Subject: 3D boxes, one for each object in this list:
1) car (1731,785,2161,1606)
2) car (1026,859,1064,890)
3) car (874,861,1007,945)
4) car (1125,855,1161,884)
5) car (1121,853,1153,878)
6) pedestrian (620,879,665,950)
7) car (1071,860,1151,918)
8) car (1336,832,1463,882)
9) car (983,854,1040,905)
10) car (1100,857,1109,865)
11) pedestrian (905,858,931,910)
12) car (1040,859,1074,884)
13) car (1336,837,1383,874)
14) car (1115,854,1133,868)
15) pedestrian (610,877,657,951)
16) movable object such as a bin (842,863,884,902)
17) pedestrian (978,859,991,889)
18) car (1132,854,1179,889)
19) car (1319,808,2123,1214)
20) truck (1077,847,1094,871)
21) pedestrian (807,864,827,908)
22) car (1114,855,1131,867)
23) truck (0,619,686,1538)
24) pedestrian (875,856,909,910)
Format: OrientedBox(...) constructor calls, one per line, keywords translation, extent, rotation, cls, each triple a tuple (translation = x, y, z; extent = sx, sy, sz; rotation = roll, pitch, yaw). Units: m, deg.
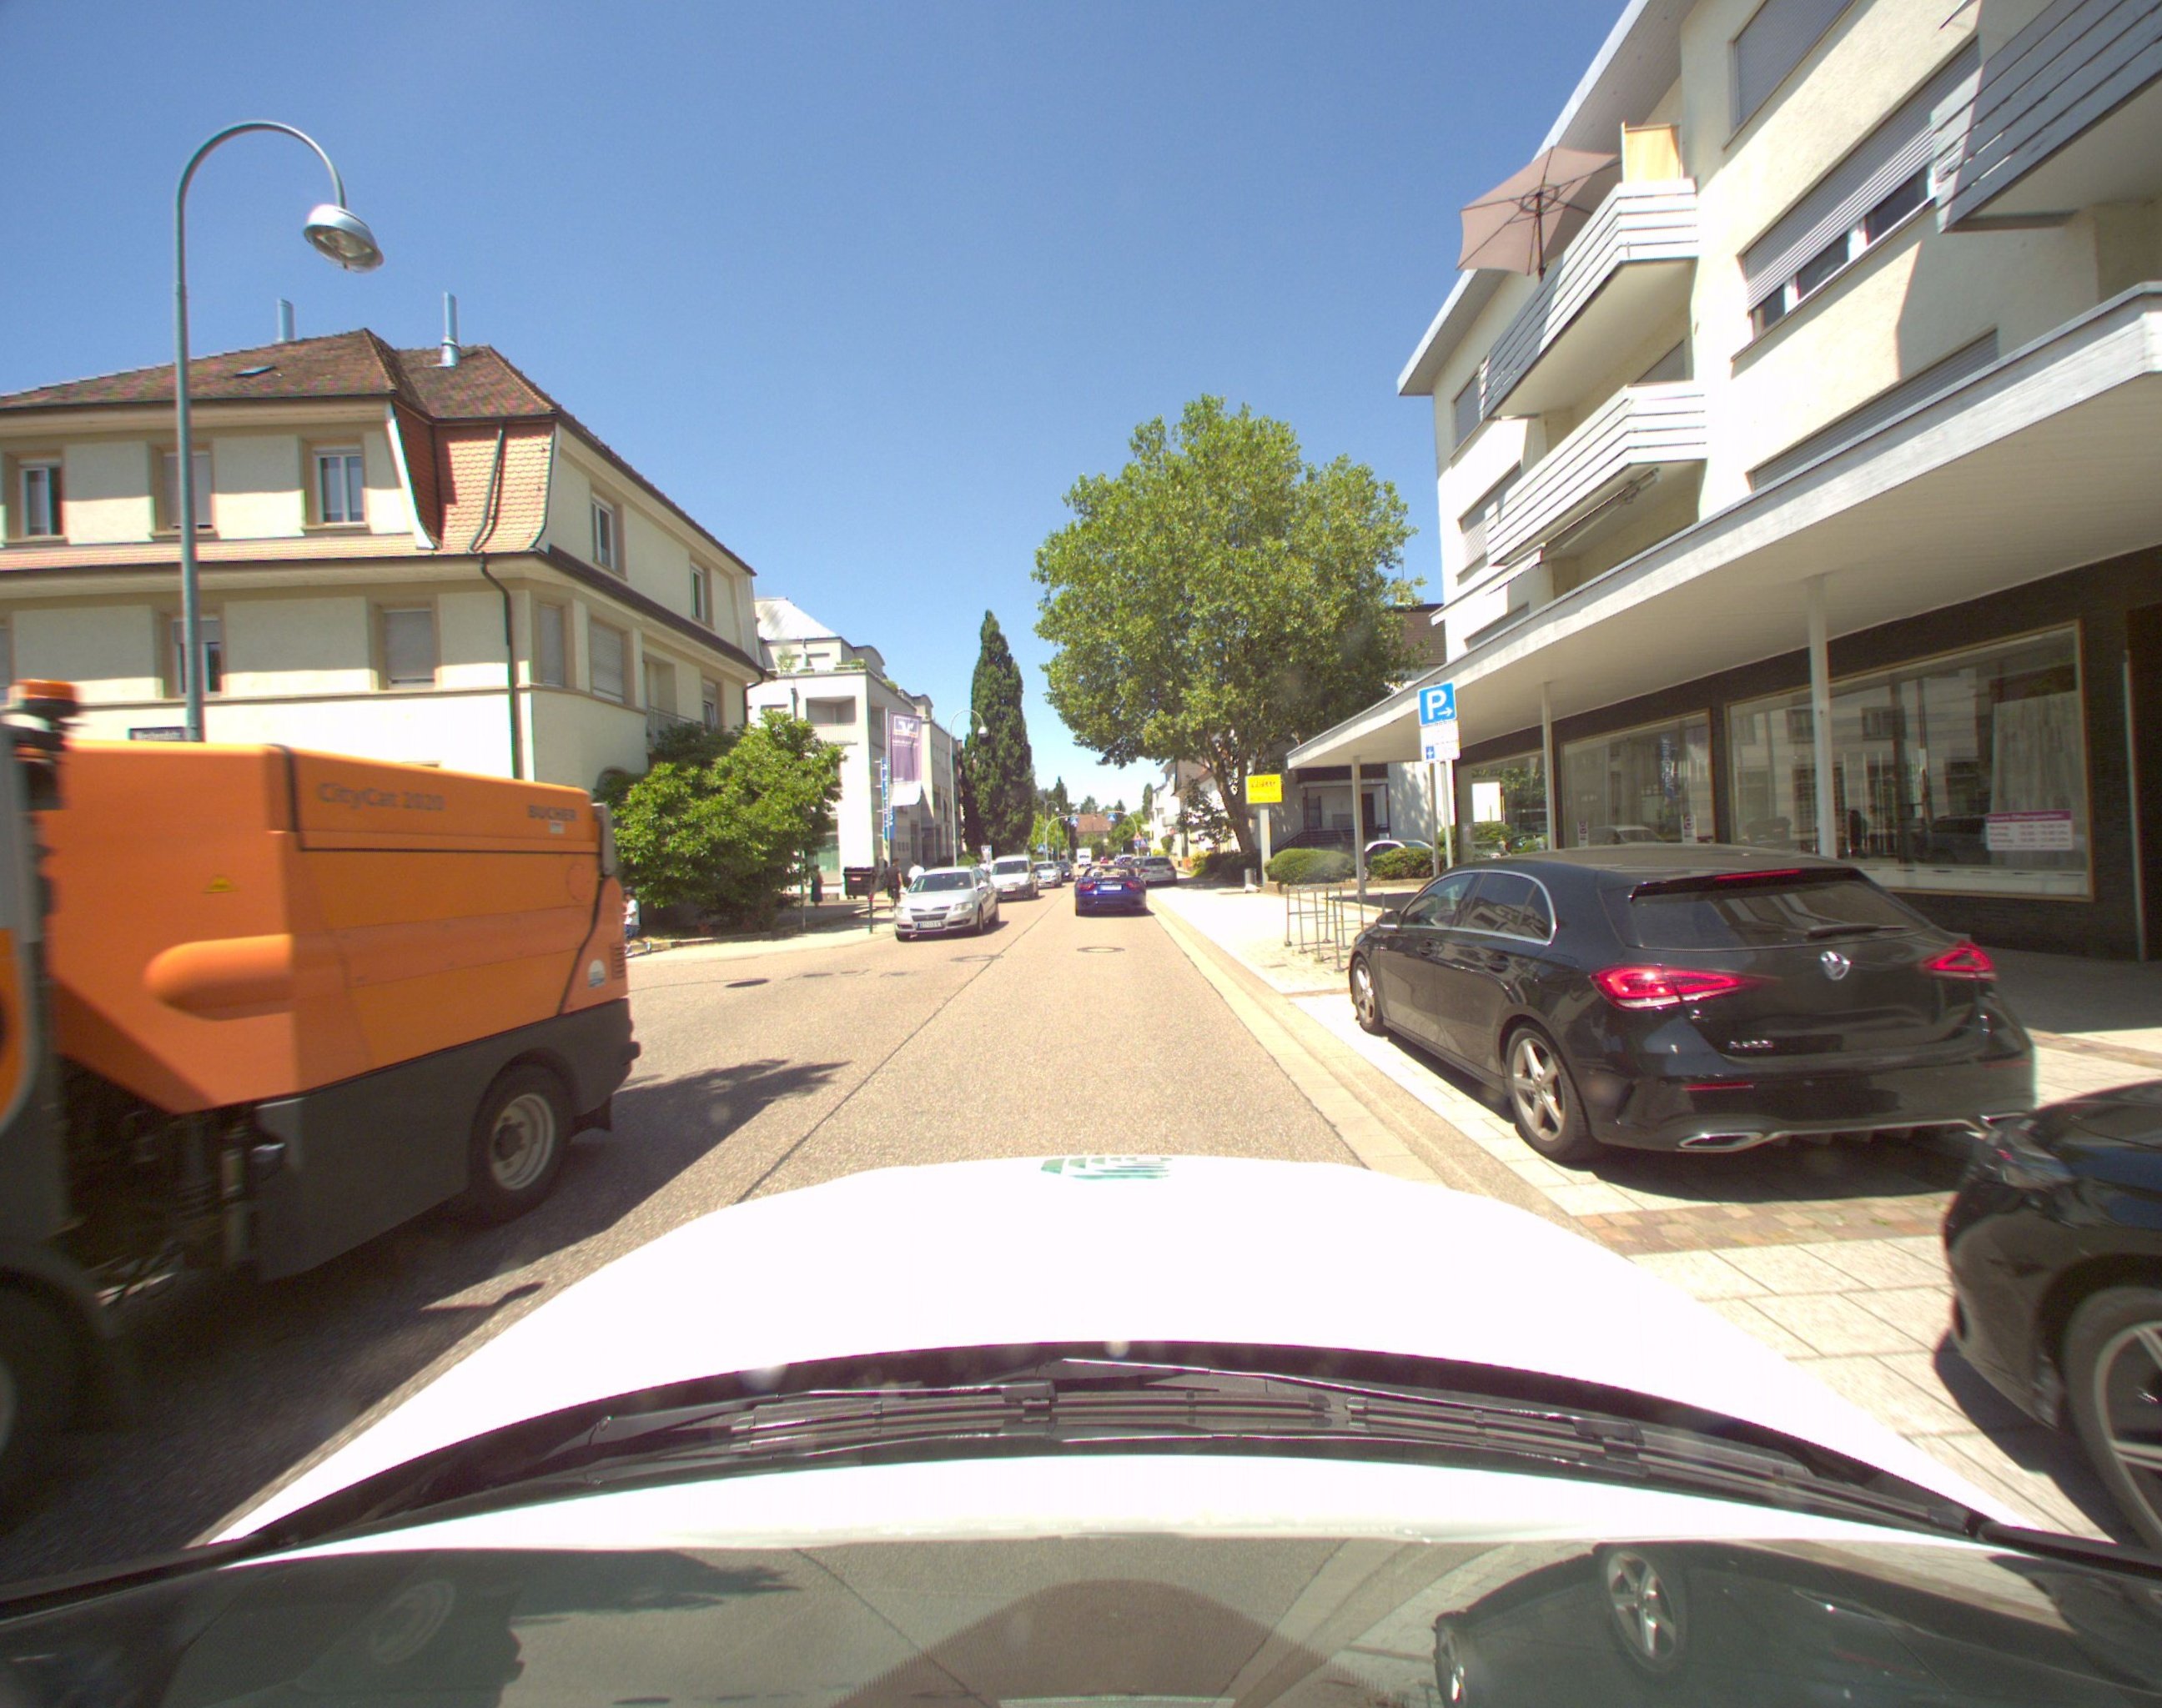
OrientedBox(translation=(2.861, 0.557, 0.126), extent=(1.887, 1.530, 4.570), rotation=(-4, -1, 2), cls="car")
OrientedBox(translation=(-1.931, 1.092, 44.725), extent=(1.763, 1.476, 4.138), rotation=(-4, 0, 1), cls="car")
OrientedBox(translation=(-2.979, 0.989, 18.332), extent=(1.942, 1.509, 4.797), rotation=(-4, -1, 1), cls="car")
OrientedBox(translation=(3.957, 0.961, 52.660), extent=(1.969, 1.556, 4.351), rotation=(-4, 1, 2), cls="car")
OrientedBox(translation=(4.007, 0.794, 58.837), extent=(1.969, 1.556, 4.351), rotation=(-4, 1, 2), cls="car")
OrientedBox(translation=(-9.102, 1.233, 16.920), extent=(0.597, 1.371, 0.691), rotation=(-5, 2, -17), cls="pedestrian")
OrientedBox(translation=(0.773, 0.892, 22.738), extent=(1.969, 1.398, 4.627), rotation=(-1, 0, 0), cls="car")
OrientedBox(translation=(11.379, 0.145, 29.376), extent=(1.854, 1.453, 3.965), rotation=(-5, -1, -26), cls="car")
OrientedBox(translation=(-2.709, 0.952, 32.506), extent=(1.764, 1.767, 4.137), rotation=(-4, 0, 0), cls="car")
OrientedBox(translation=(4.941, 1.489, 171.012), extent=(1.763, 1.476, 4.138), rotation=(-2, -1, 1), cls="car")
OrientedBox(translation=(-5.370, 0.991, 26.882), extent=(0.629, 1.691, 0.961), rotation=(-1, -2, 1), cls="pedestrian")
OrientedBox(translation=(-1.559, 1.116, 54.712), extent=(1.944, 1.476, 4.138), rotation=(-4, 0, 1), cls="car")
OrientedBox(translation=(12.744, 0.025, 37.382), extent=(1.829, 1.453, 4.019), rotation=(-6, -1, 18), cls="car")
OrientedBox(translation=(5.100, 0.788, 97.364), extent=(1.944, 1.476, 4.138), rotation=(-4, 0, 1), cls="car")
OrientedBox(translation=(-8.899, 1.180, 16.217), extent=(0.597, 1.371, 0.690), rotation=(-5, 2, -17), cls="pedestrian")
OrientedBox(translation=(-9.211, 1.189, 34.429), extent=(1.353, 1.494, 1.296), rotation=(-4, 2, -2), cls="movable object such as a bin")
OrientedBox(translation=(-5.324, 1.101, 44.976), extent=(0.585, 1.574, 0.781), rotation=(-3, -1, 1), cls="pedestrian")
OrientedBox(translation=(3.631, 0.804, 40.415), extent=(1.969, 1.450, 4.351), rotation=(-4, 1, 2), cls="car")
OrientedBox(translation=(3.019, 0.620, 5.166), extent=(1.838, 1.414, 4.164), rotation=(-4, -1, 2), cls="car")
OrientedBox(translation=(0.693, 0.843, 127.831), extent=(2.413, 3.482, 7.001), rotation=(-4, 0, 0), cls="truck")
OrientedBox(translation=(-10.141, 1.228, 31.248), extent=(0.679, 1.623, 0.712), rotation=(0, -2, -15), cls="pedestrian")
OrientedBox(translation=(5.305, 0.876, 104.263), extent=(1.944, 1.476, 4.138), rotation=(-4, 0, 1), cls="car")
OrientedBox(translation=(-3.399, 0.553, 2.517), extent=(1.798, 2.117, 4.716), rotation=(-4, 0, 2), cls="truck")
OrientedBox(translation=(-6.212, 0.957, 26.839), extent=(0.882, 1.749, 0.818), rotation=(-1, -2, 2), cls="pedestrian")
